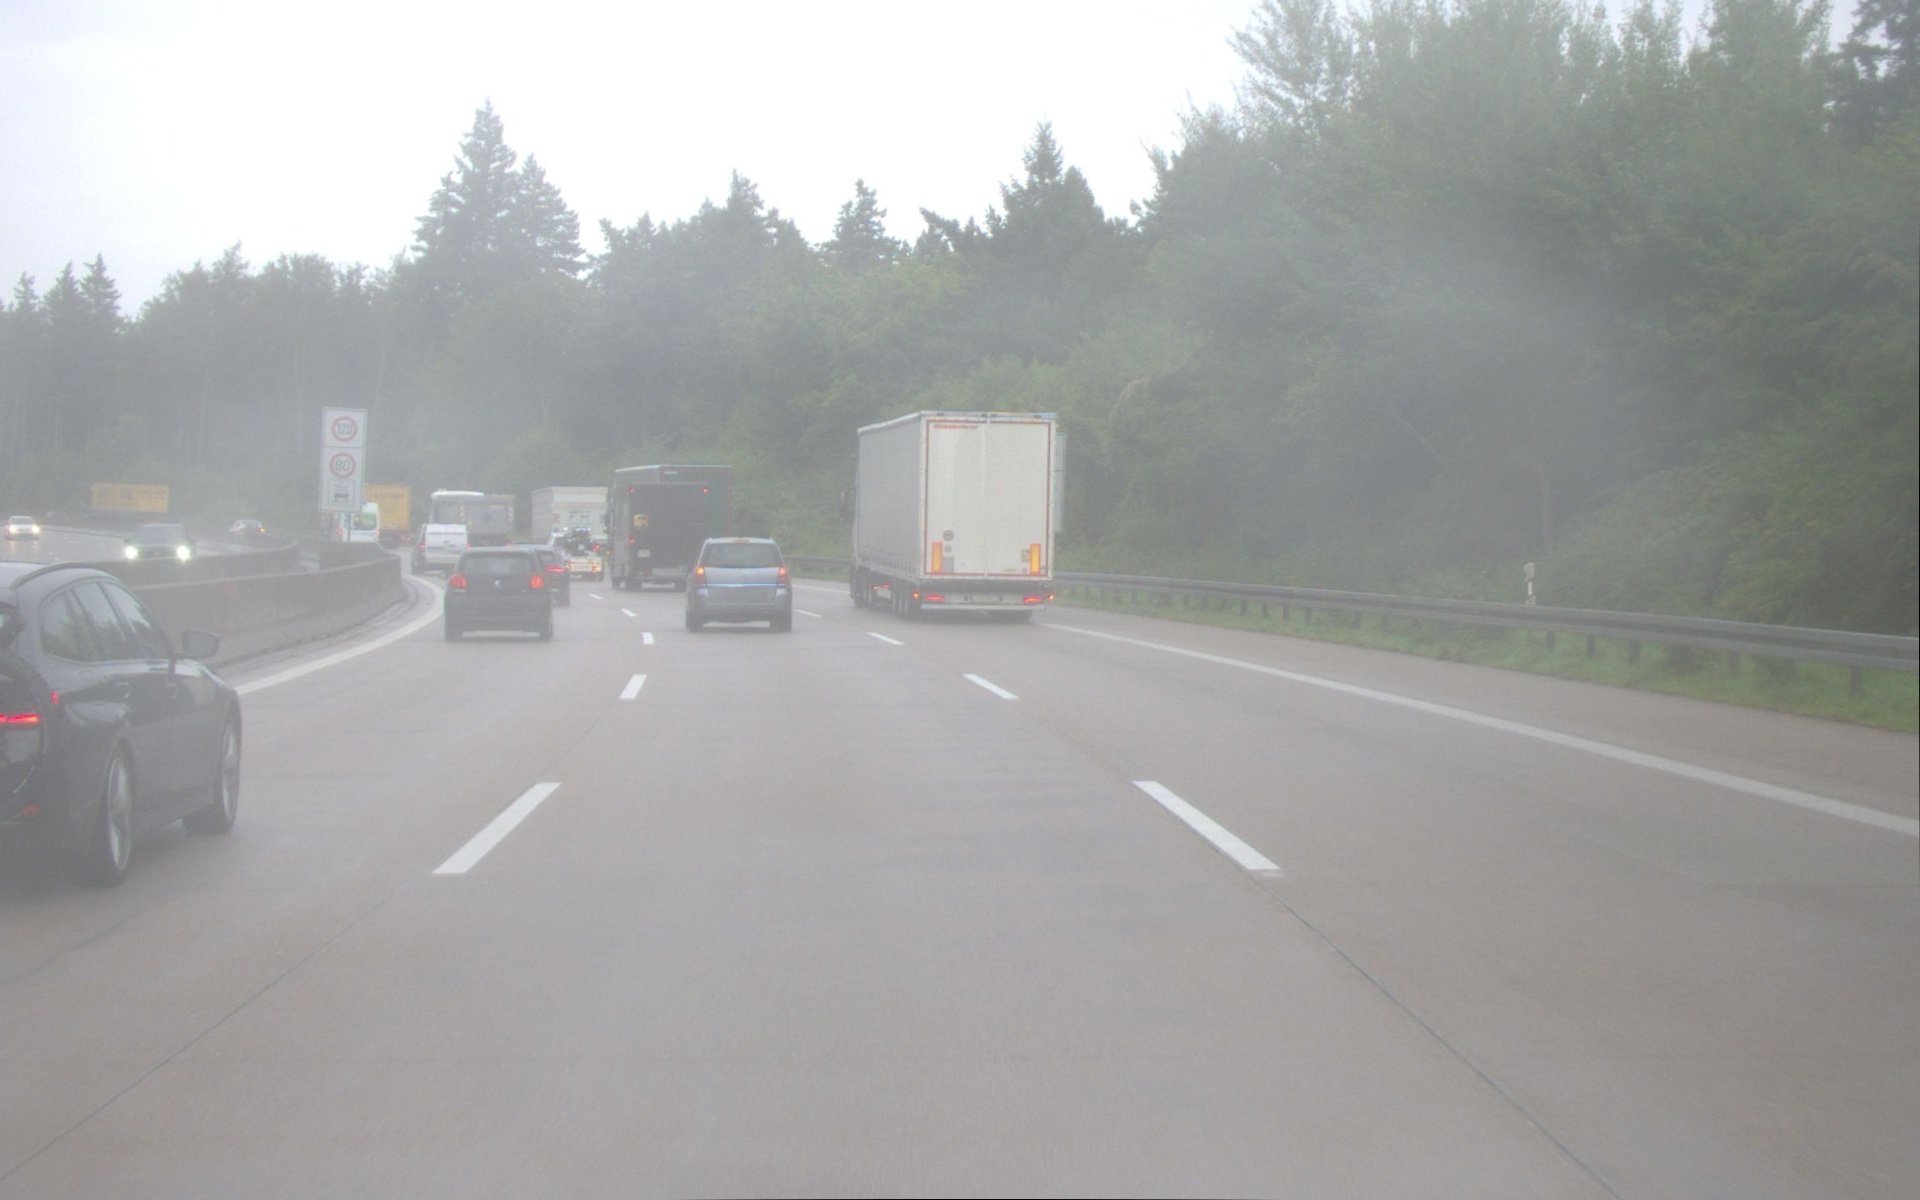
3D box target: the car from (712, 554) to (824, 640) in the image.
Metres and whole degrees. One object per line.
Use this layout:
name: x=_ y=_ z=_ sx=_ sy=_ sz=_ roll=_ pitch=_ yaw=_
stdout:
car: x=-3.277 y=-0.072 z=59.095 sx=1.554 sy=1.347 sz=3.683 roll=2 pitch=1 yaw=2

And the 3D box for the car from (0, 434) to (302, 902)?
car: x=-4.711 y=0.218 z=17.268 sx=1.907 sy=1.938 sz=6.163 roll=0 pitch=1 yaw=-3

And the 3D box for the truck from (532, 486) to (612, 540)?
truck: x=-17.884 y=-4.021 z=157.991 sx=2.973 sy=2.301 sz=6.669 roll=2 pitch=1 yaw=-12

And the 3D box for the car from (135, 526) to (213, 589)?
car: x=-22.553 y=-1.224 z=98.765 sx=1.730 sy=1.770 sz=4.760 roll=0 pitch=1 yaw=-7

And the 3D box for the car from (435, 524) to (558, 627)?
car: x=-7.147 y=-0.407 z=53.282 sx=1.683 sy=1.457 sz=3.684 roll=2 pitch=1 yaw=-5

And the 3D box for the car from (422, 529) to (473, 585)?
car: x=-18.523 y=-1.545 z=124.103 sx=1.725 sy=2.007 sz=3.658 roll=0 pitch=1 yaw=-10

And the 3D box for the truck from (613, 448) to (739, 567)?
truck: x=-10.503 y=-3.389 z=126.126 sx=3.368 sy=4.117 sz=10.441 roll=1 pitch=1 yaw=-11

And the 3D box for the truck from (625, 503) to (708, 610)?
truck: x=-8.553 y=-1.328 z=100.420 sx=2.269 sy=2.877 sz=7.905 roll=1 pitch=2 yaw=-5

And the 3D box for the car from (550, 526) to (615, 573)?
car: x=-12.702 y=-1.700 z=115.905 sx=1.881 sy=1.468 sz=4.001 roll=2 pitch=1 yaw=-3

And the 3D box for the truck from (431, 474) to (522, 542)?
truck: x=-21.800 y=-4.178 z=154.695 sx=3.081 sy=2.895 sz=7.906 roll=1 pitch=2 yaw=-15

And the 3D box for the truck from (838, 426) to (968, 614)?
truck: x=-1.319 y=-1.804 z=77.086 sx=2.419 sy=4.054 sz=4.979 roll=1 pitch=1 yaw=-6

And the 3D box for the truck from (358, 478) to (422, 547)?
truck: x=-35.437 y=-5.433 z=214.076 sx=3.739 sy=4.195 sz=6.820 roll=0 pitch=1 yaw=-8

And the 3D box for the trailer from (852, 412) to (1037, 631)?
trailer: x=-0.468 y=-1.613 z=70.158 sx=2.419 sy=4.054 sz=12.058 roll=1 pitch=1 yaw=-7

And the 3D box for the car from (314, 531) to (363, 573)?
car: x=-30.525 y=-2.363 z=168.661 sx=1.993 sy=2.052 sz=4.001 roll=0 pitch=1 yaw=-16
